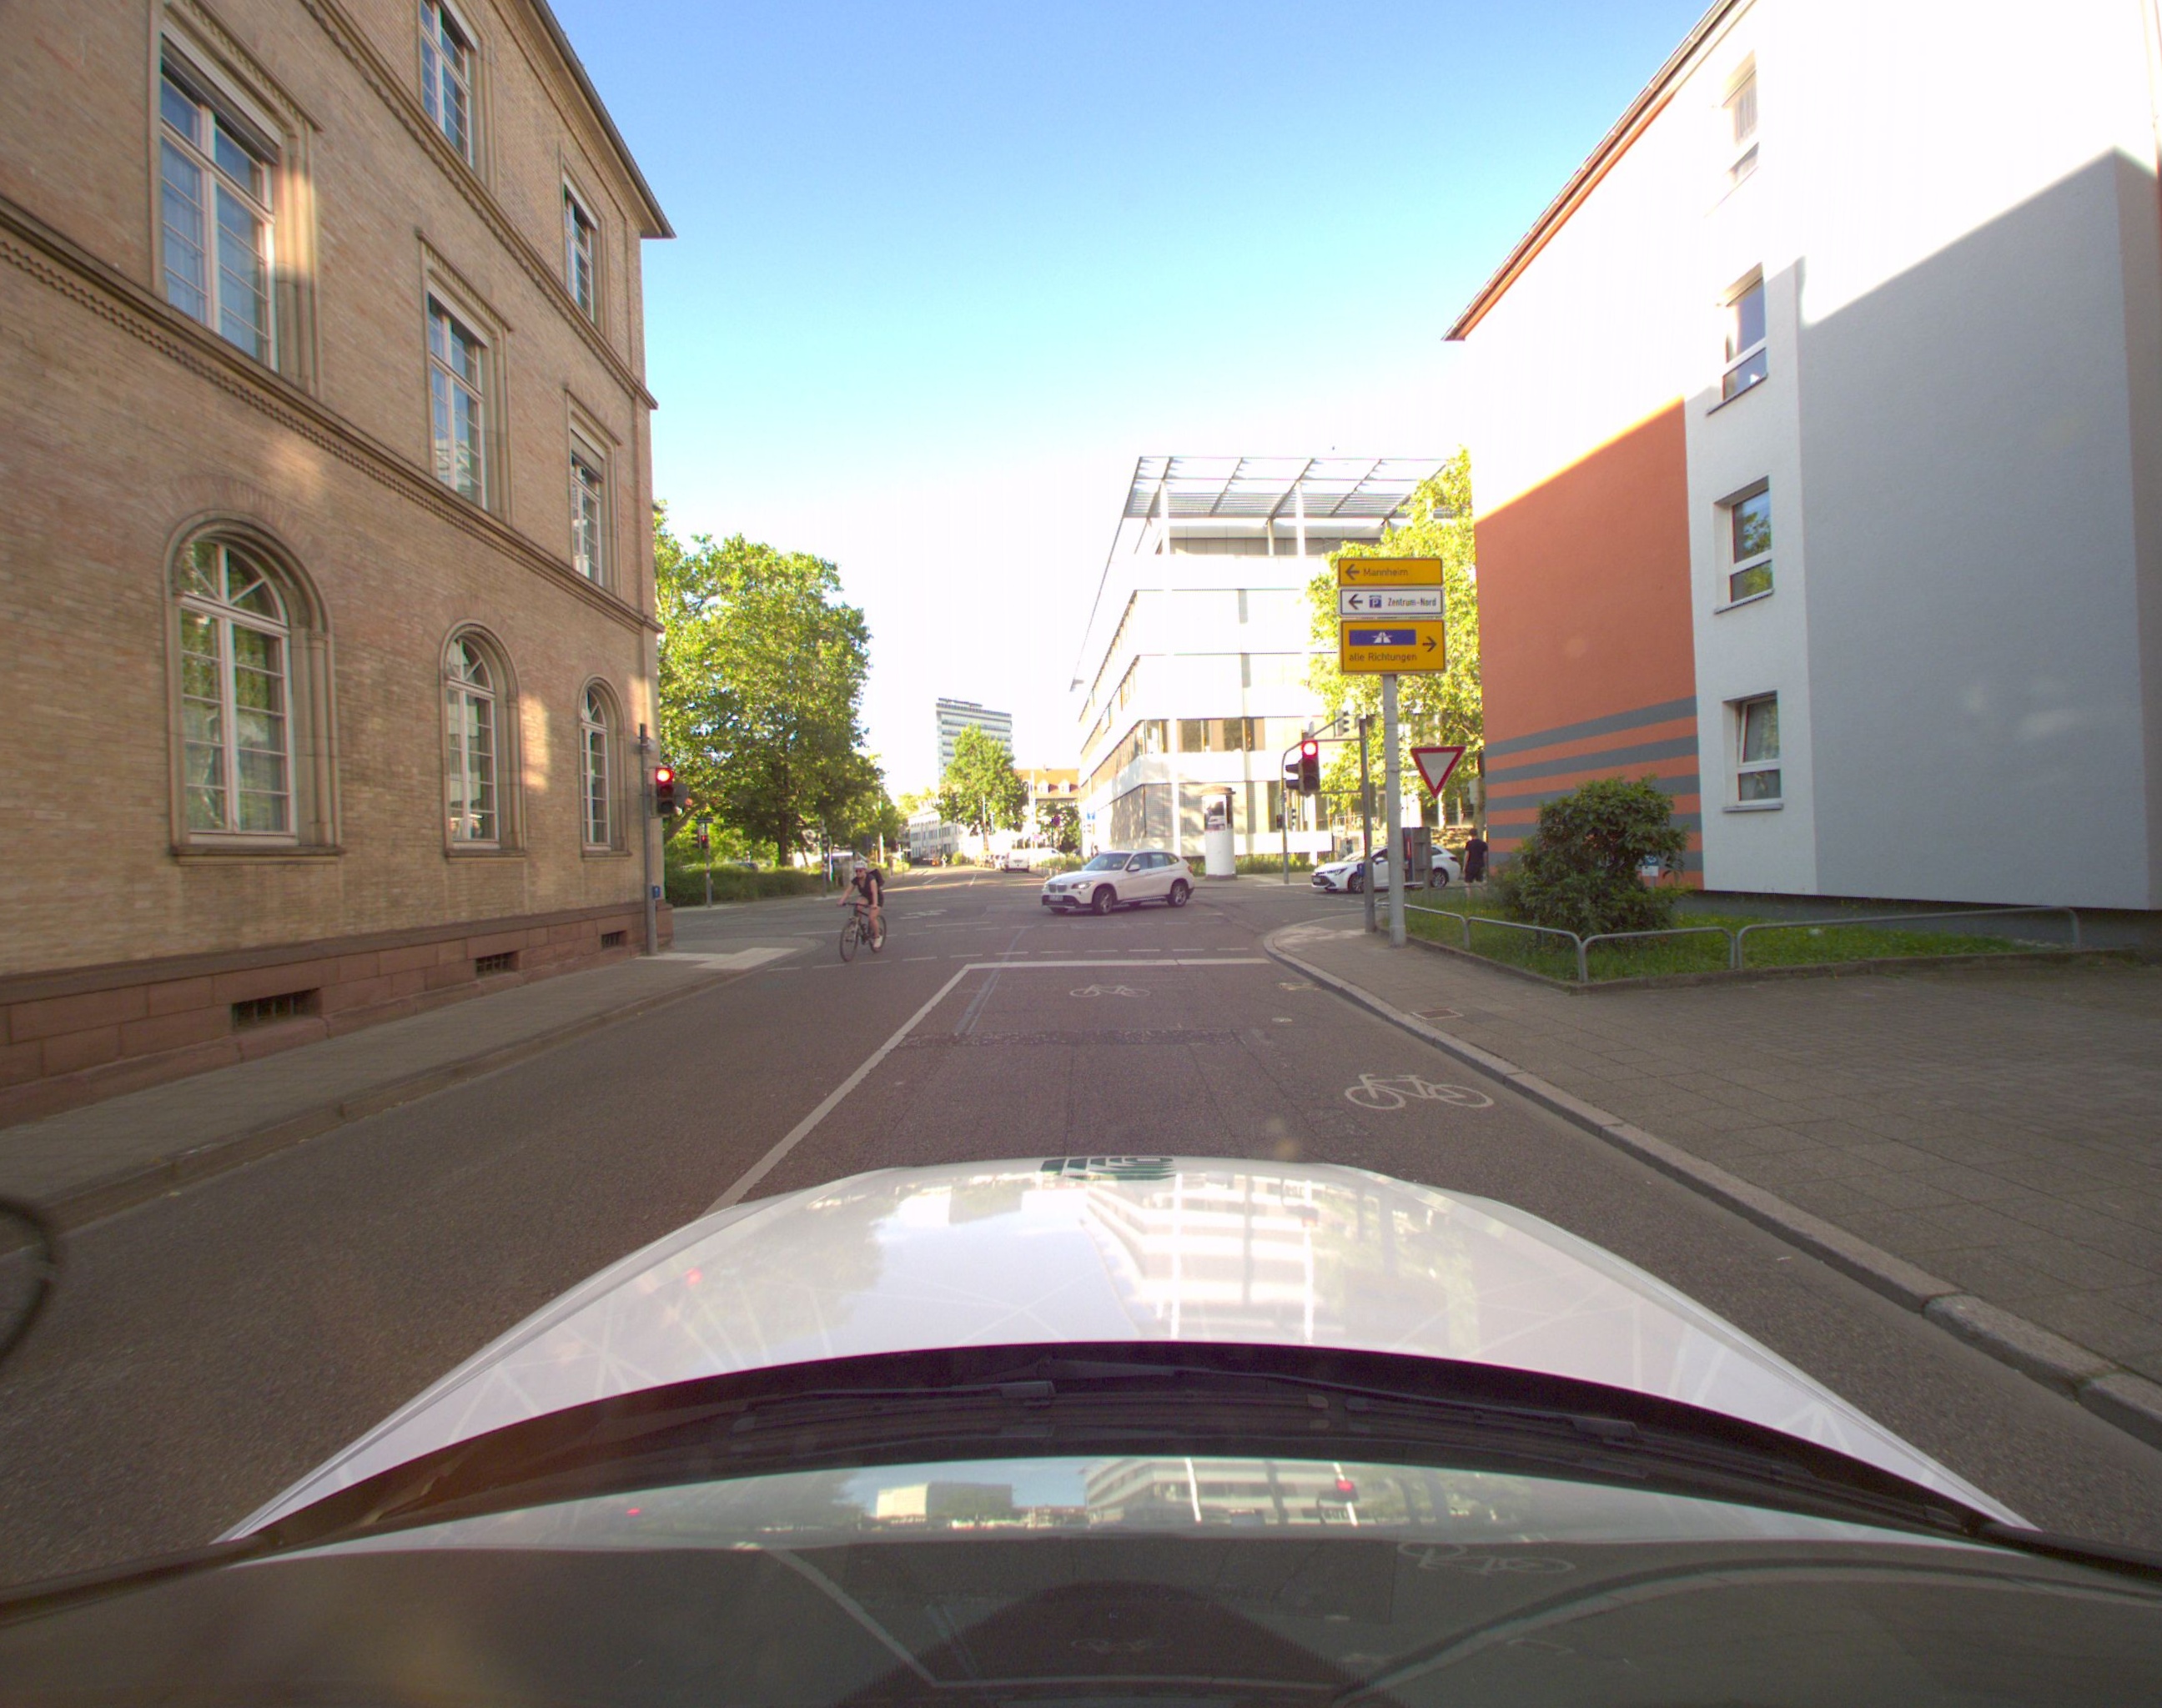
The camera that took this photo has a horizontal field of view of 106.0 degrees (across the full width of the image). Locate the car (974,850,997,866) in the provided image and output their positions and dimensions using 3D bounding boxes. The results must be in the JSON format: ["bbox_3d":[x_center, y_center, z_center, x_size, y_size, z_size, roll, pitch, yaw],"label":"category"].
[{"bbox_3d":[-11.283,0.448,95.971,1.893,1.655,4.390,-2,1,-16],"label":"car"}]

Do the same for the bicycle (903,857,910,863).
[{"bbox_3d":[-28.041,0.960,131.087,0.865,1.009,2.407,-5,0,-9],"label":"bicycle"}]

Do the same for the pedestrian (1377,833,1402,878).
[{"bbox_3d":[12.790,0.050,33.756,0.826,1.840,0.713,0,0,32],"label":"pedestrian"}]

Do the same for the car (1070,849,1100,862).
[{"bbox_3d":[0.499,0.203,104.439,3.563,1.546,1.549,-2,0,-17],"label":"car"}]

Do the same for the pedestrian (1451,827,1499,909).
[{"bbox_3d":[9.001,0.315,18.630,0.704,1.840,0.837,0,0,1],"label":"pedestrian"}]

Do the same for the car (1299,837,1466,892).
[{"bbox_3d":[9.335,0.309,25.338,4.530,1.476,1.887,-2,0,-10],"label":"car"}]

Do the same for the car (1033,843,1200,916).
[{"bbox_3d":[0.996,0.577,20.725,4.298,1.582,1.670,-2,0,-43],"label":"car"}]

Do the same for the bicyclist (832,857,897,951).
[{"bbox_3d":[-3.602,0.812,13.609,0.682,1.475,0.872,-4,0,4],"label":"bicyclist"}]

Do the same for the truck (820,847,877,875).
[{"bbox_3d":[-21.616,0.599,75.836,4.825,2.399,2.082,-2,0,-8],"label":"truck"}]

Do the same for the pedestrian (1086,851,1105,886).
[{"bbox_3d":[0.675,0.647,37.011,0.561,1.540,0.673,-5,1,-16],"label":"pedestrian"}]

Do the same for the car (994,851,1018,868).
[{"bbox_3d":[-7.275,0.496,78.676,1.889,1.555,4.398,-2,1,-11],"label":"car"}]

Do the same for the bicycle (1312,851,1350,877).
[{"bbox_3d":[11.023,0.434,35.921,0.510,1.049,1.670,-4,3,-33],"label":"bicycle"}]

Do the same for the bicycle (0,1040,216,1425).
[{"bbox_3d":[-3.521,1.213,2.123,0.543,1.006,1.757,-5,0,2],"label":"bicycle"}]

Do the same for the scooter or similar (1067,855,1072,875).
[{"bbox_3d":[-0.834,0.773,58.755,0.329,1.424,1.333,0,-1,-4],"label":"scooter or similar"}]

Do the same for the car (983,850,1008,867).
[{"bbox_3d":[-9.033,0.454,85.973,1.893,1.655,4.390,-2,1,-16],"label":"car"}]

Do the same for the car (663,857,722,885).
[{"bbox_3d":[-37.176,1.626,78.125,4.551,2.391,2.069,-3,0,-7],"label":"car"}]

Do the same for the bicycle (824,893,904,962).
[{"bbox_3d":[-3.583,1.190,13.619,0.682,0.924,1.768,-4,0,4],"label":"bicycle"}]

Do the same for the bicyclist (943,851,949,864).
[{"bbox_3d":[-15.544,0.378,93.908,0.615,1.532,0.901,-3,0,-7],"label":"bicyclist"}]

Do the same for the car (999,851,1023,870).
[{"bbox_3d":[-6.341,0.521,73.278,1.887,1.555,4.403,-2,1,-8],"label":"car"}]

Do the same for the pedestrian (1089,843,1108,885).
[{"bbox_3d":[0.826,0.458,37.940,0.555,1.850,0.680,-5,1,18],"label":"pedestrian"}]

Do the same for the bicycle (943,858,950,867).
[{"bbox_3d":[-15.517,1.022,93.894,0.615,0.969,1.837,-3,0,-7],"label":"bicycle"}]

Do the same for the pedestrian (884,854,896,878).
[{"bbox_3d":[-14.236,0.875,60.700,0.705,1.723,0.949,-3,0,-18],"label":"pedestrian"}]

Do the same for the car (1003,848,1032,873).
[{"bbox_3d":[-5.094,0.466,64.925,2.084,1.795,4.403,-2,1,-8],"label":"car"}]

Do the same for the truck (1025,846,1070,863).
[{"bbox_3d":[-4.252,0.098,103.368,5.351,2.013,1.988,-2,0,-17],"label":"truck"}]
